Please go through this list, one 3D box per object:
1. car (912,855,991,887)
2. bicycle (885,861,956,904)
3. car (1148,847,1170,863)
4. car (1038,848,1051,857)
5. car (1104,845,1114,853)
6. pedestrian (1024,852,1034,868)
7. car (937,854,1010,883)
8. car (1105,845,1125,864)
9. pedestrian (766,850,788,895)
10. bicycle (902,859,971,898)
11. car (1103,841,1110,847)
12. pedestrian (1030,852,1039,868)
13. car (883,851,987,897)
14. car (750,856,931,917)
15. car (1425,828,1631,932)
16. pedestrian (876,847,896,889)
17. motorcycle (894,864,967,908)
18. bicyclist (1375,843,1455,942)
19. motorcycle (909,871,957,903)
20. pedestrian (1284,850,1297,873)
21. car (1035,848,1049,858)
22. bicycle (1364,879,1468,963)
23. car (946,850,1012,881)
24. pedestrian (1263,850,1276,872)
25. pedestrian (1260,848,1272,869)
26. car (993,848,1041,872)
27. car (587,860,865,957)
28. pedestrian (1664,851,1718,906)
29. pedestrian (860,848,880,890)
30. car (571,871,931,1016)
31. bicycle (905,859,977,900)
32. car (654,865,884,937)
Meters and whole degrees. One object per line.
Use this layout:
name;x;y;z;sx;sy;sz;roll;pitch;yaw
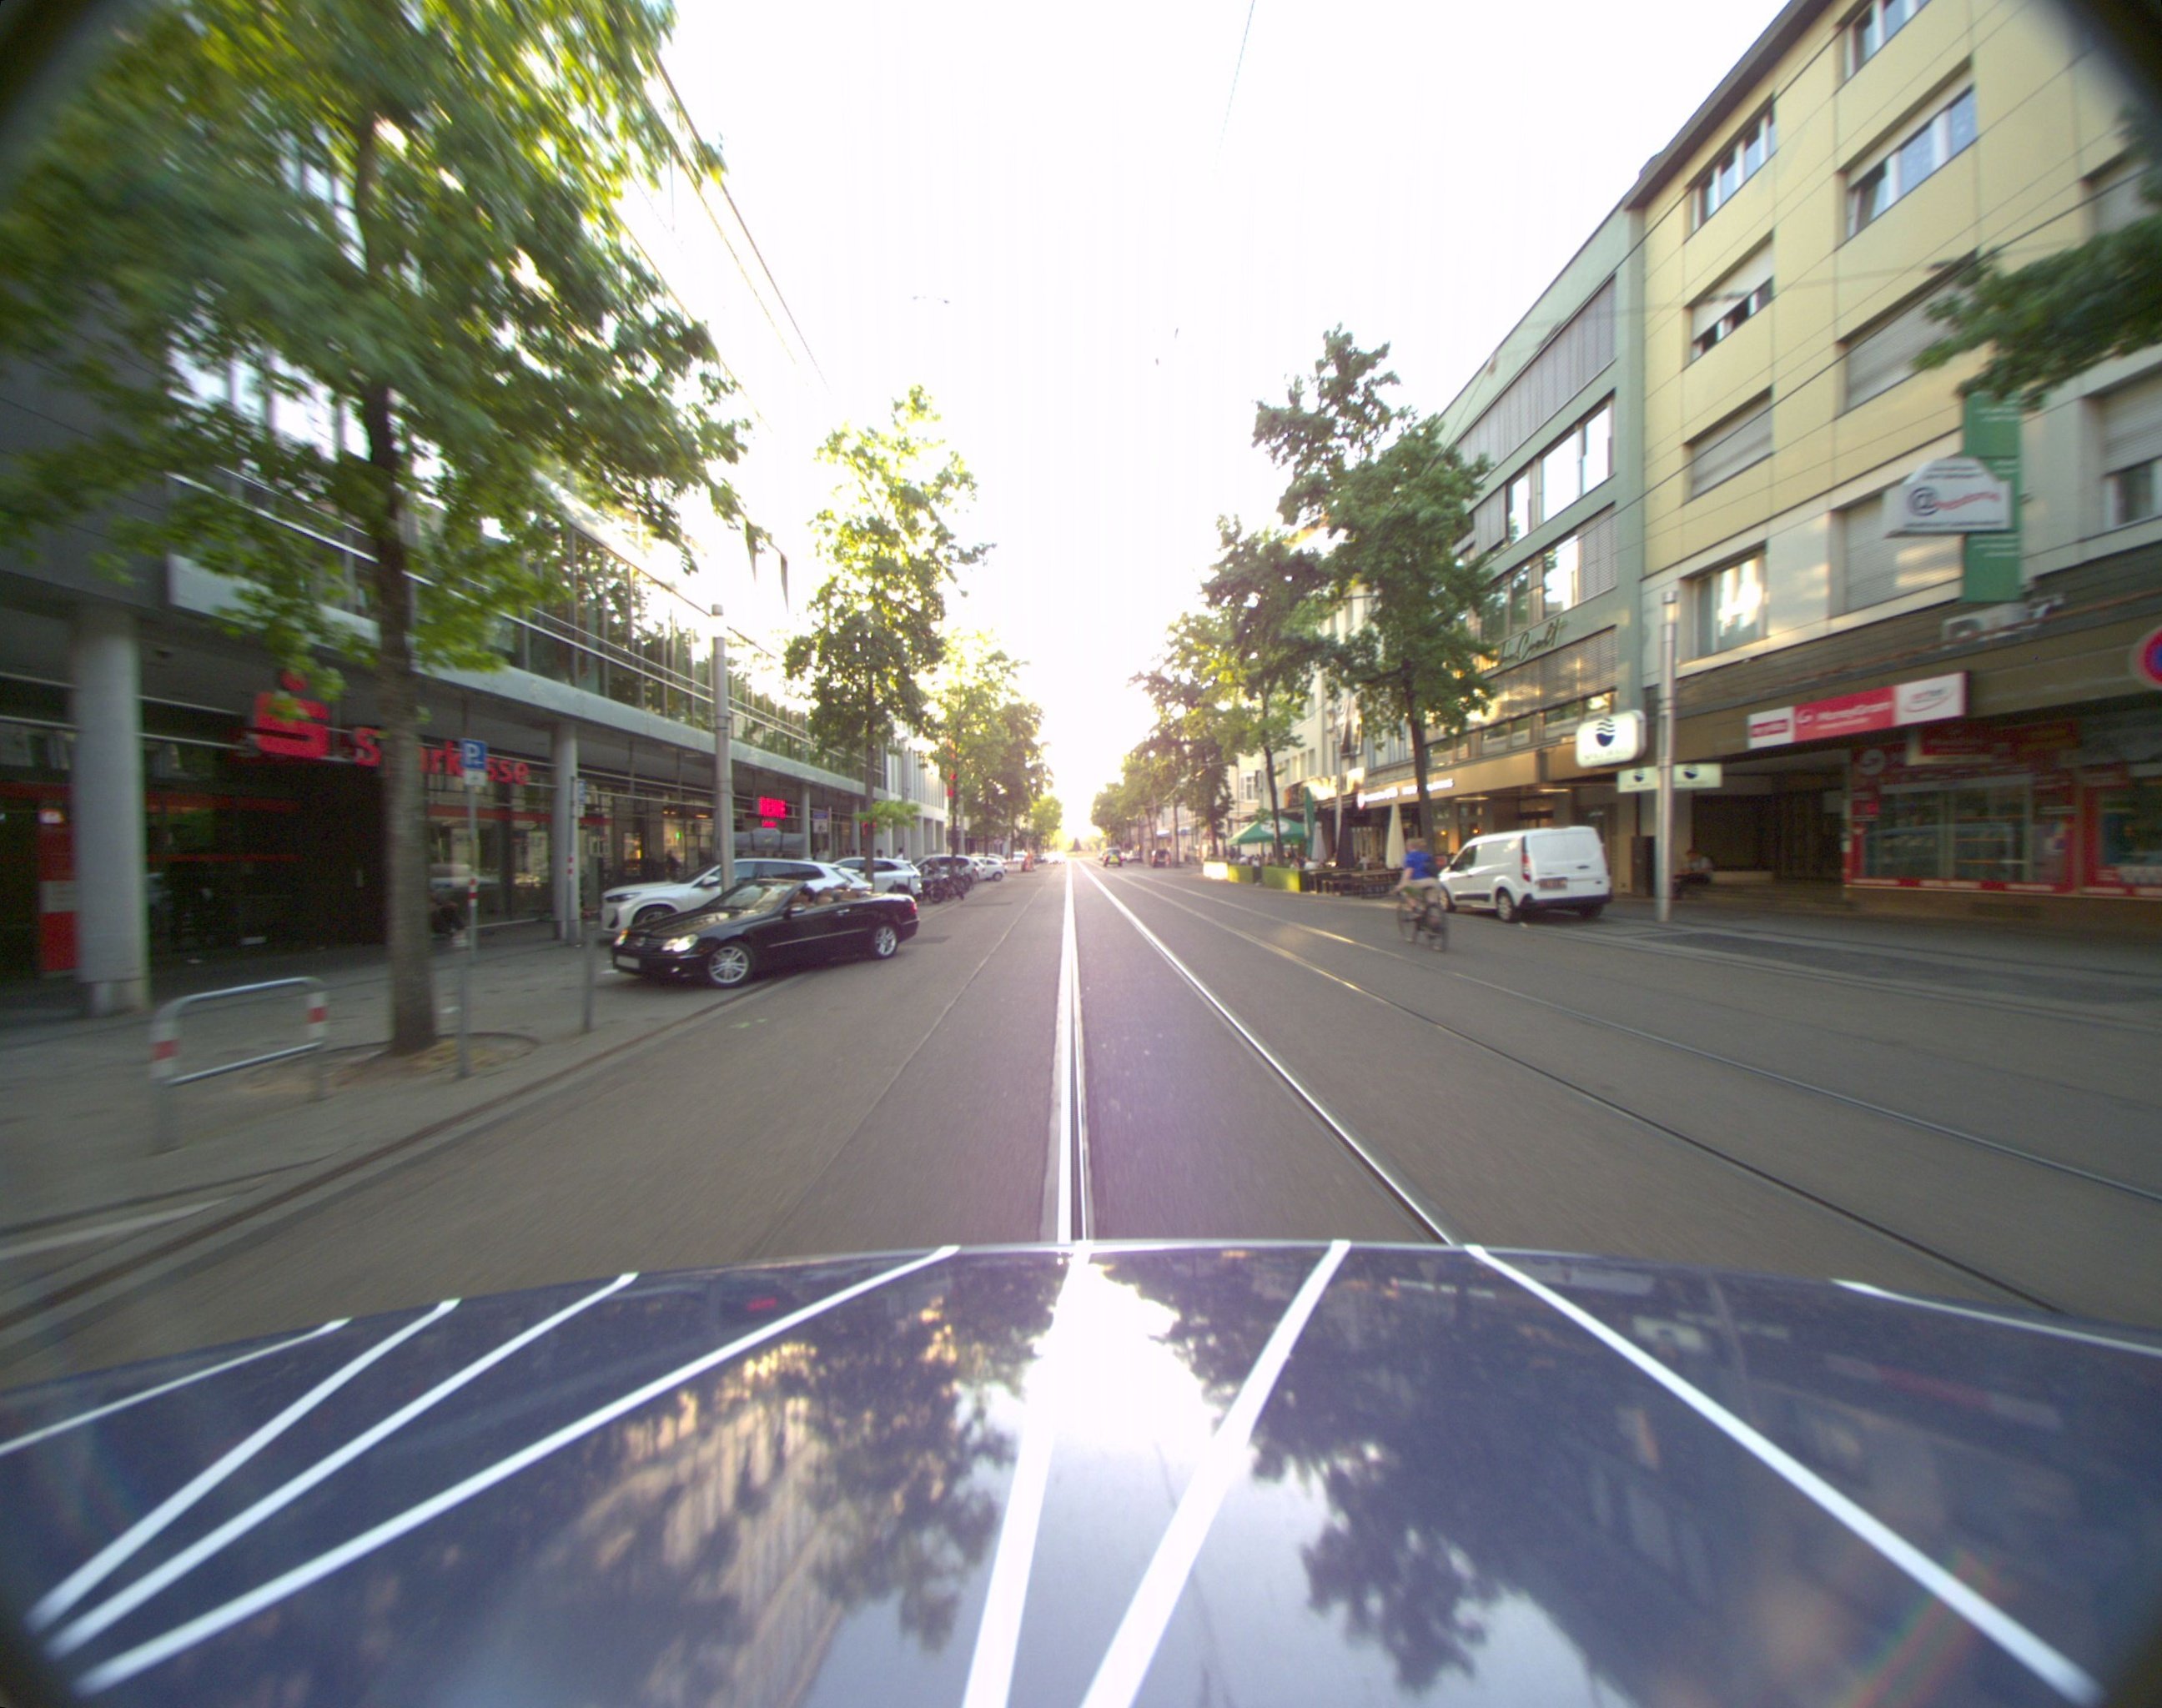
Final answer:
car;-7.368;0.963;43.351;4.005;1.501;1.796;-4;1;-30
bicycle;-6.098;1.060;28.992;2.492;1.448;0.656;-4;1;-26
car;7.970;0.079;77.921;1.799;1.501;4.000;-1;0;0
car;-6.044;-0.241;126.242;1.793;1.499;3.999;-2;1;0
car;5.459;-0.916;149.811;1.799;1.501;4.000;-1;0;0
pedestrian;-4.623;0.526;67.509;0.650;1.451;0.649;-1;1;-17
car;-6.628;0.888;46.902;4.005;1.501;1.861;-4;1;-30
car;3.657;0.001;82.388;1.998;2.002;4.000;-1;0;0
pedestrian;-11.604;0.708;29.041;0.558;1.681;0.628;0;1;0
bicycle;-6.040;1.013;31.897;2.677;1.448;0.675;-4;1;-26
car;6.582;-2.476;197.629;1.799;1.501;4.000;-1;0;0
pedestrian;-4.259;0.524;70.132;0.650;1.451;0.649;-1;1;-17
car;-6.963;0.917;36.538;4.474;1.869;1.795;-4;1;-37
car;-6.915;0.897;22.081;4.646;1.579;1.913;1;1;-35
car;9.258;0.473;16.233;1.830;1.811;4.329;-4;0;1
pedestrian;-7.867;0.573;30.699;0.618;1.681;0.628;0;1;0
motorcycle;-5.000;1.037;25.402;1.153;1.346;2.115;2;1;41
bicyclist;5.027;0.552;11.481;0.760;1.406;0.897;-3;1;0
motorcycle;-5.236;1.150;26.892;1.574;1.093;0.627;1;1;-25
pedestrian;13.122;0.458;47.594;0.650;1.451;0.650;-1;1;-2
car;-6.096;-0.133;119.074;1.793;1.499;3.999;-2;1;0
bicycle;5.044;0.969;11.581;0.732;1.067;1.865;-3;0;0
car;-6.941;0.778;51.611;4.004;1.776;1.861;-4;1;-24
pedestrian;12.285;0.453;49.621;0.650;1.451;0.650;-1;1;-2
pedestrian;12.542;0.298;51.550;0.650;1.451;0.650;-1;1;-2
car;-5.370;0.496;64.470;1.860;1.776;4.007;-3;1;34
car;-6.789;0.957;14.749;4.646;1.620;1.913;1;-1;-32
pedestrian;13.607;0.537;16.962;0.650;1.168;0.650;-2;1;-5
pedestrian;-8.432;0.593;30.436;0.618;1.681;0.628;0;1;0
car;-4.401;1.093;11.000;1.795;1.400;4.573;-3;1;28
bicycle;-5.655;1.018;30.794;2.677;1.448;0.728;-4;1;-27
car;-7.097;1.002;17.448;4.645;1.431;1.913;1;0;-28
